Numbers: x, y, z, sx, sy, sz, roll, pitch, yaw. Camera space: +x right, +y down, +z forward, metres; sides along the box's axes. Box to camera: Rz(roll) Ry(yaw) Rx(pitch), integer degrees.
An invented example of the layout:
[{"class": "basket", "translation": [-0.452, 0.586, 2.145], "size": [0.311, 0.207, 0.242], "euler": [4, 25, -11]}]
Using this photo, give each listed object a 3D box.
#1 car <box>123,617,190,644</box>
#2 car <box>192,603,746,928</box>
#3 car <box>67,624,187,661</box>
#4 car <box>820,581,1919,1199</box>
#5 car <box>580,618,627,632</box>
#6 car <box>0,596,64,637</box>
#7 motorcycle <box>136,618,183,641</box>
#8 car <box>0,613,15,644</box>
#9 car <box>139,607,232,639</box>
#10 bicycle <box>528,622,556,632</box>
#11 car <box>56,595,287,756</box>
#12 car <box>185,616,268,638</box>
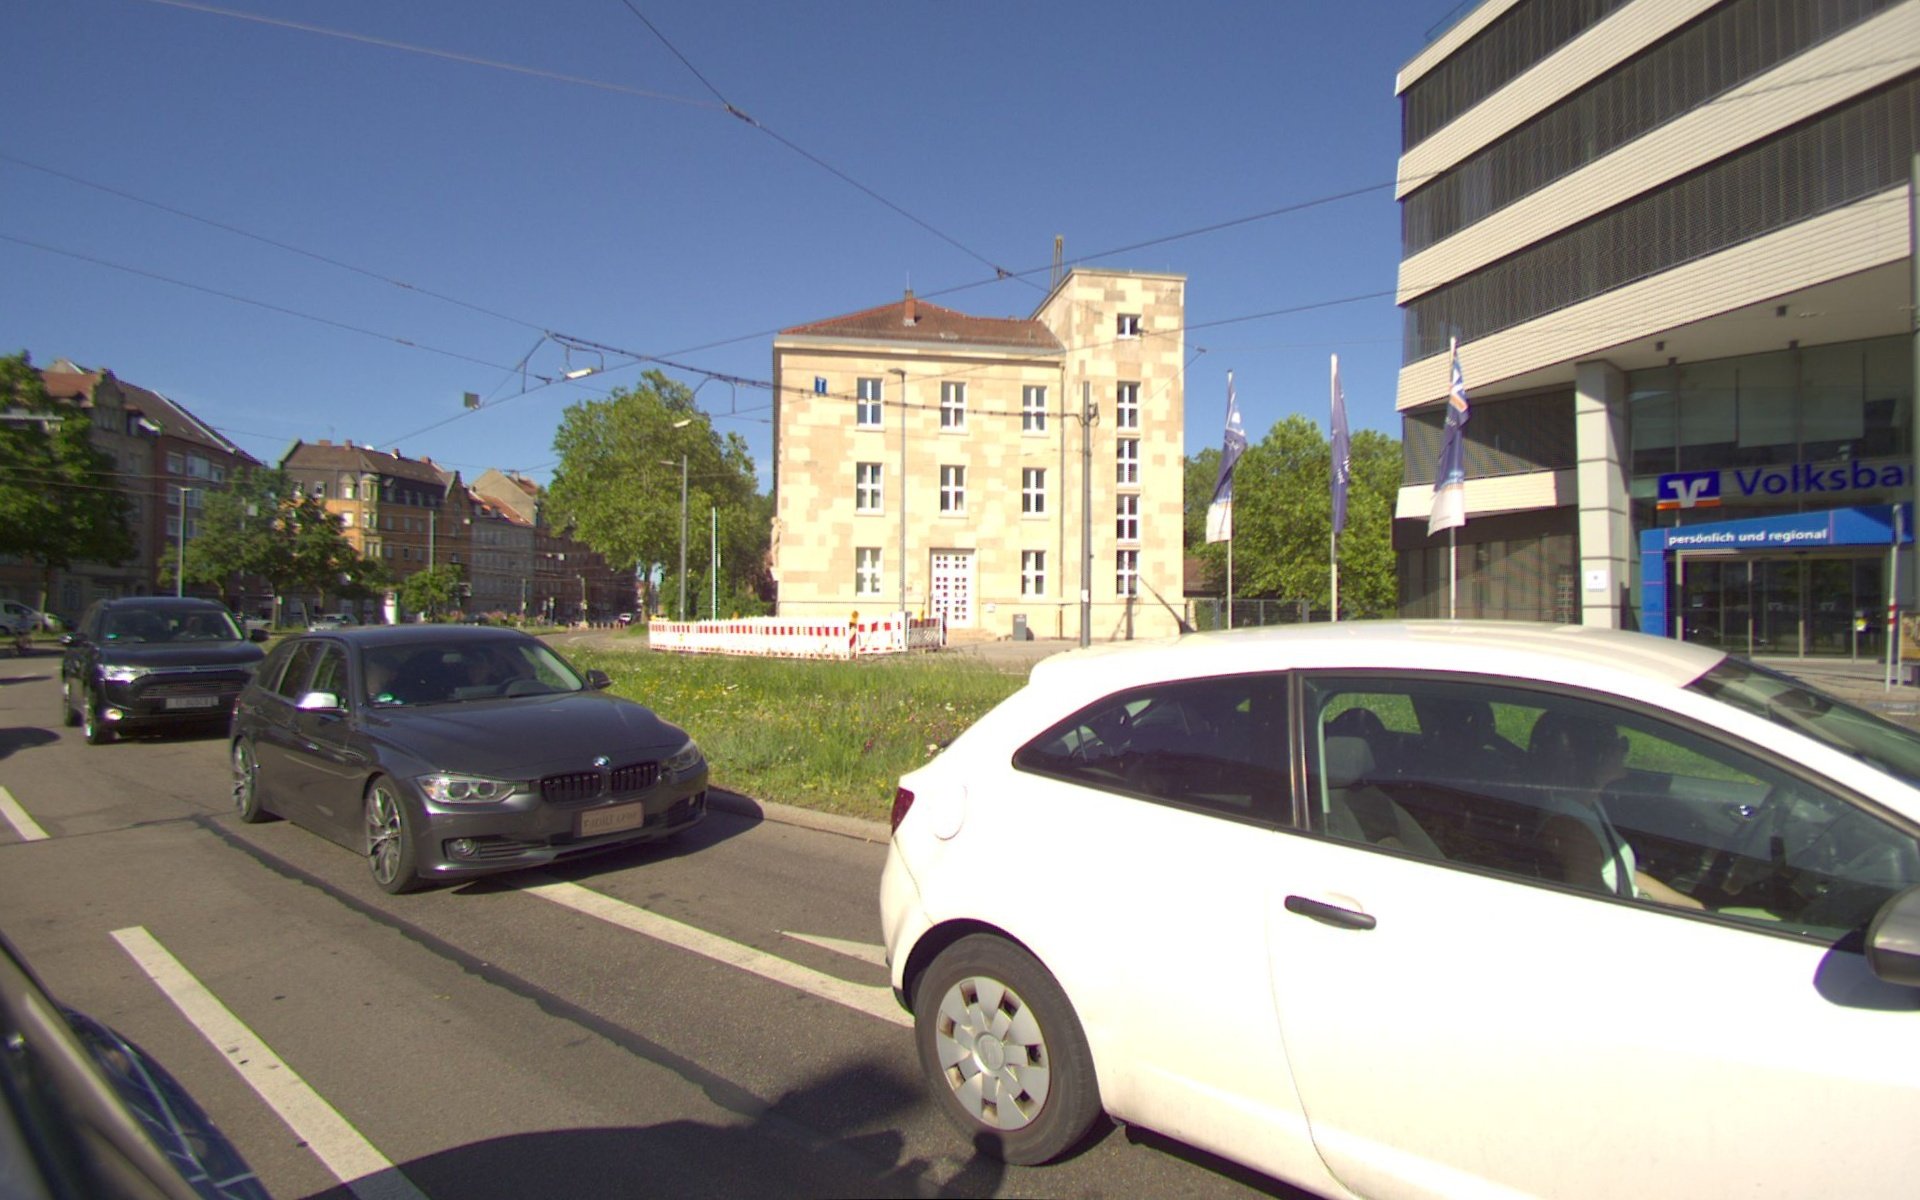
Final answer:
[{"class": "car", "translation": [-63.513, 2.382, 80.125], "size": [1.970, 1.484, 4.498], "euler": [-10, 3, -8]}, {"class": "car", "translation": [-3.515, 0.796, 6.786], "size": [4.465, 1.434, 1.716], "euler": [-1, 1, 41]}, {"class": "car", "translation": [-34.366, 1.727, 41.927], "size": [1.860, 1.438, 4.385], "euler": [0, -1, -9]}, {"class": "car", "translation": [1.556, 0.702, 2.322], "size": [3.780, 1.434, 1.615], "euler": [-1, 1, 41]}, {"class": "car", "translation": [-42.173, 2.960, 119.701], "size": [4.890, 1.464, 1.836], "euler": [1, -2, -1]}, {"class": "car", "translation": [-50.197, 0.820, 52.717], "size": [5.105, 2.028, 2.104], "euler": [3, -2, -40]}, {"class": "motorcycle", "translation": [-53.037, 1.956, 67.091], "size": [0.851, 1.431, 2.238], "euler": [0, -3, 30]}, {"class": "car", "translation": [-49.152, 1.364, 49.686], "size": [3.970, 1.490, 1.814], "euler": [4, -2, -44]}, {"class": "car", "translation": [-53.713, 1.625, 70.247], "size": [2.022, 2.091, 4.809], "euler": [-1, -3, 45]}, {"class": "bicycle", "translation": [-60.354, 3.894, 146.390], "size": [1.940, 1.427, 6.837], "euler": [1, -1, -7]}, {"class": "car", "translation": [-10.199, 0.826, 12.939], "size": [1.815, 1.695, 4.645], "euler": [0, -1, -45]}, {"class": "car", "translation": [-55.627, 2.056, 76.791], "size": [4.807, 1.446, 2.022], "euler": [4, -3, -44]}]
